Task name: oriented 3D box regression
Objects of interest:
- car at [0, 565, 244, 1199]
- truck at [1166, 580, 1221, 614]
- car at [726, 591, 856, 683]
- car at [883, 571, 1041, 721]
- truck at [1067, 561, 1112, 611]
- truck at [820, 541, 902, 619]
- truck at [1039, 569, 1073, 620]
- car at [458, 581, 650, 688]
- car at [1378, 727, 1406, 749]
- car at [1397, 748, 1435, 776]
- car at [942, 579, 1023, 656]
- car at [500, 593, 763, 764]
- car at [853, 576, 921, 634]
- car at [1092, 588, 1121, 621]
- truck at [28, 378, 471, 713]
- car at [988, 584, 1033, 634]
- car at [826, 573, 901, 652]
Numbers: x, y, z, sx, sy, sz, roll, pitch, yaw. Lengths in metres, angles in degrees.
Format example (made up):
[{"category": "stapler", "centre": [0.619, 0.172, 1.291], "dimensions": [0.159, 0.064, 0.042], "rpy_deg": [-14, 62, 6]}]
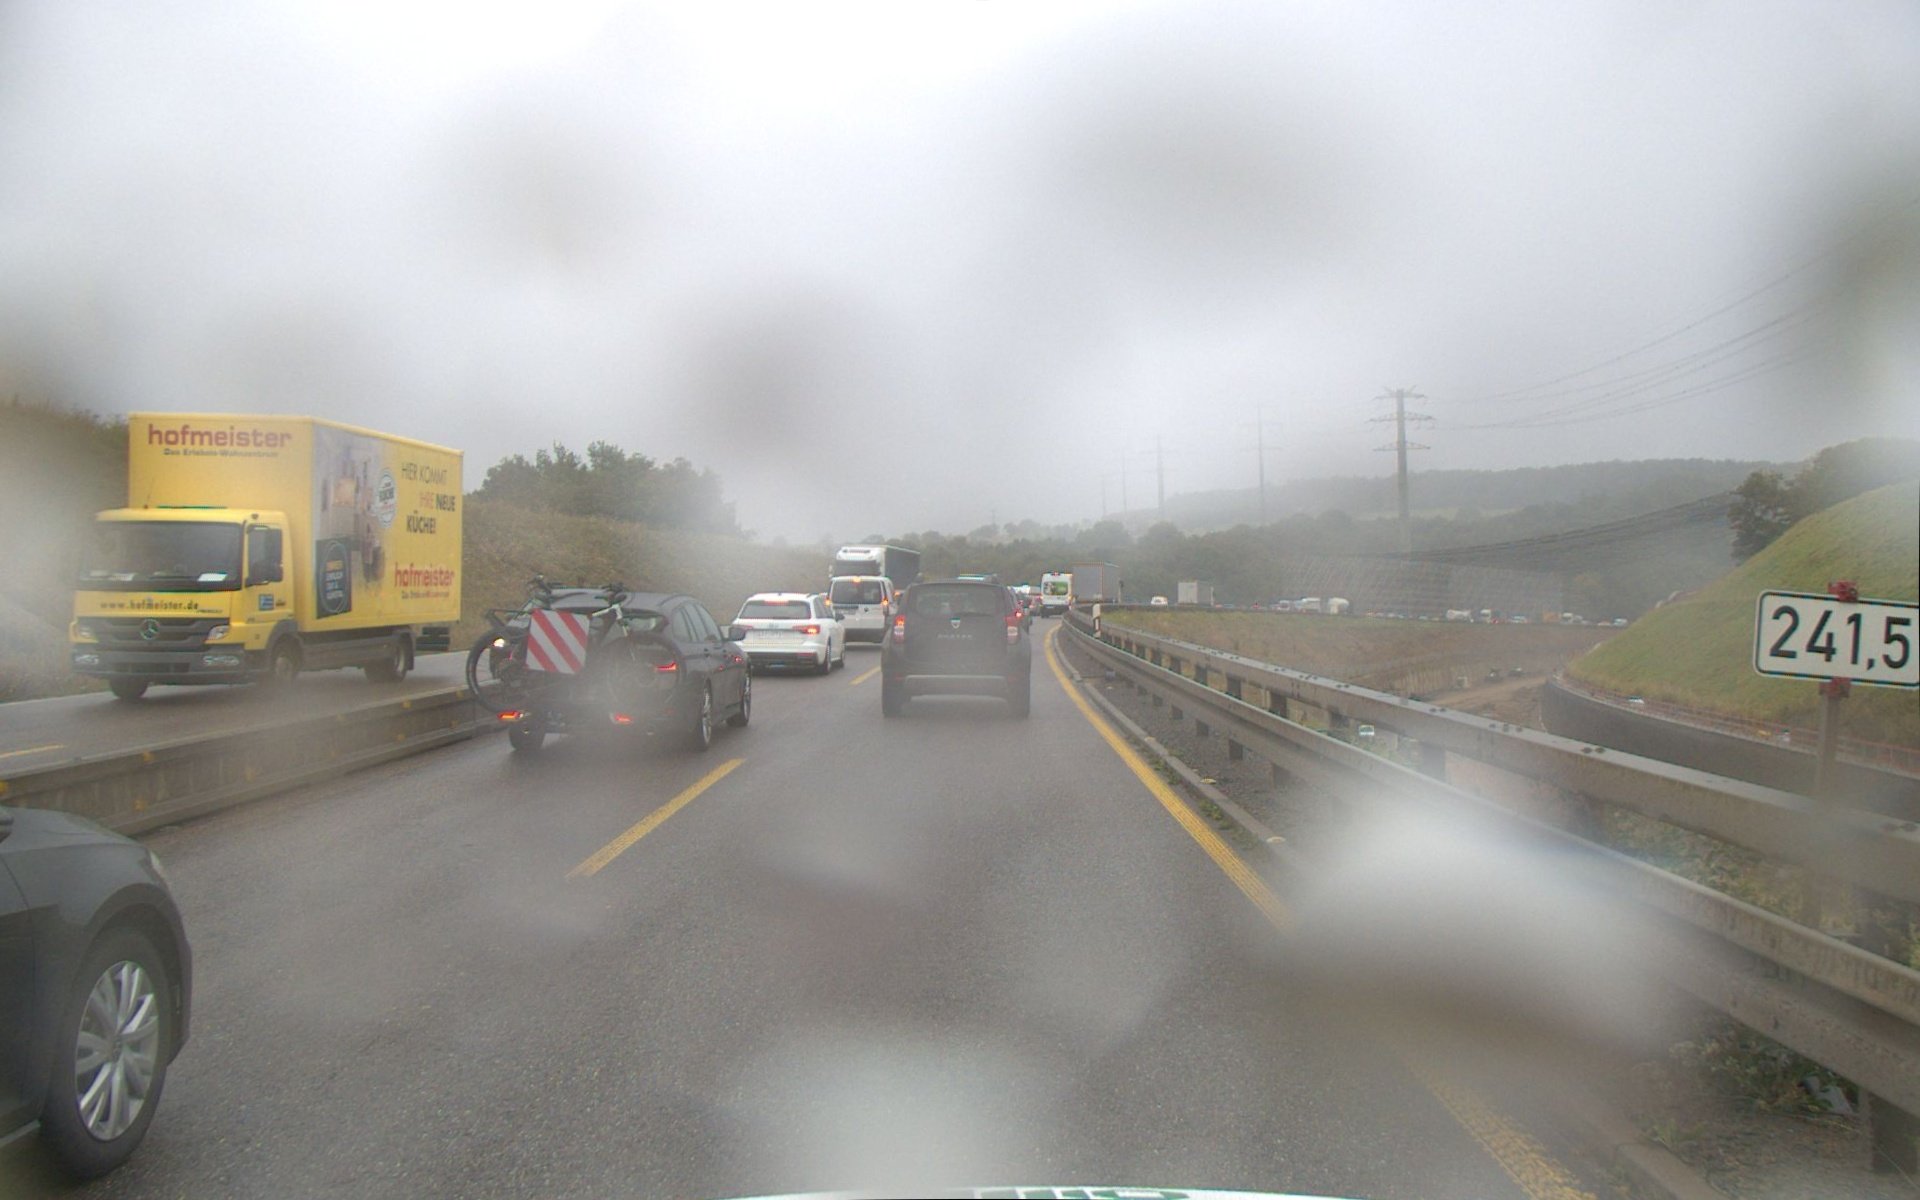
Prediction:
[{"category": "car", "centre": [-2.813, 0.717, 2.567], "dimensions": [1.581, 1.532, 4.367], "rpy_deg": [-1, 0, -2]}, {"category": "truck", "centre": [30.862, -0.347, 217.607], "dimensions": [4.618, 4.222, 15.690], "rpy_deg": [1, 0, 17]}, {"category": "car", "centre": [-2.981, 0.610, 30.074], "dimensions": [1.829, 1.486, 4.549], "rpy_deg": [1, 0, 1]}, {"category": "car", "centre": [0.070, 0.514, 20.443], "dimensions": [1.767, 1.674, 3.777], "rpy_deg": [0, 0, 1]}, {"category": "truck", "centre": [10.396, -1.080, 132.278], "dimensions": [3.132, 3.827, 8.516], "rpy_deg": [1, 0, 7]}, {"category": "truck", "centre": [-5.631, -1.127, 96.988], "dimensions": [2.871, 4.168, 14.398], "rpy_deg": [1, 0, 4]}, {"category": "truck", "centre": [6.248, -0.378, 108.119], "dimensions": [2.104, 3.221, 6.462], "rpy_deg": [1, 0, 3]}, {"category": "car", "centre": [-5.981, 0.458, 24.868], "dimensions": [1.829, 1.431, 4.115], "rpy_deg": [1, 0, 0]}, {"category": "car", "centre": [42.954, 13.744, 164.491], "dimensions": [1.952, 1.847, 4.002], "rpy_deg": [1, 0, 4]}, {"category": "car", "centre": [40.496, 14.378, 146.982], "dimensions": [2.316, 2.049, 4.001], "rpy_deg": [1, 0, 1]}, {"category": "car", "centre": [0.537, 0.397, 40.212], "dimensions": [1.829, 1.738, 4.000], "rpy_deg": [1, 0, 0]}, {"category": "car", "centre": [-3.117, 0.685, 16.444], "dimensions": [1.791, 1.502, 3.777], "rpy_deg": [0, 0, 1]}, {"category": "car", "centre": [-2.294, 0.149, 52.820], "dimensions": [1.829, 1.738, 4.092], "rpy_deg": [1, 0, 1]}, {"category": "car", "centre": [9.123, 0.252, 102.969], "dimensions": [1.737, 1.949, 4.002], "rpy_deg": [1, 0, 5]}, {"category": "truck", "centre": [-9.922, -0.696, 24.411], "dimensions": [2.711, 4.066, 8.424], "rpy_deg": [1, 0, 1]}, {"category": "car", "centre": [1.746, 0.299, 57.876], "dimensions": [1.499, 1.669, 4.013], "rpy_deg": [1, 0, 1]}, {"category": "car", "centre": [-2.457, 0.295, 42.990], "dimensions": [1.626, 1.912, 4.020], "rpy_deg": [1, 0, 1]}]
